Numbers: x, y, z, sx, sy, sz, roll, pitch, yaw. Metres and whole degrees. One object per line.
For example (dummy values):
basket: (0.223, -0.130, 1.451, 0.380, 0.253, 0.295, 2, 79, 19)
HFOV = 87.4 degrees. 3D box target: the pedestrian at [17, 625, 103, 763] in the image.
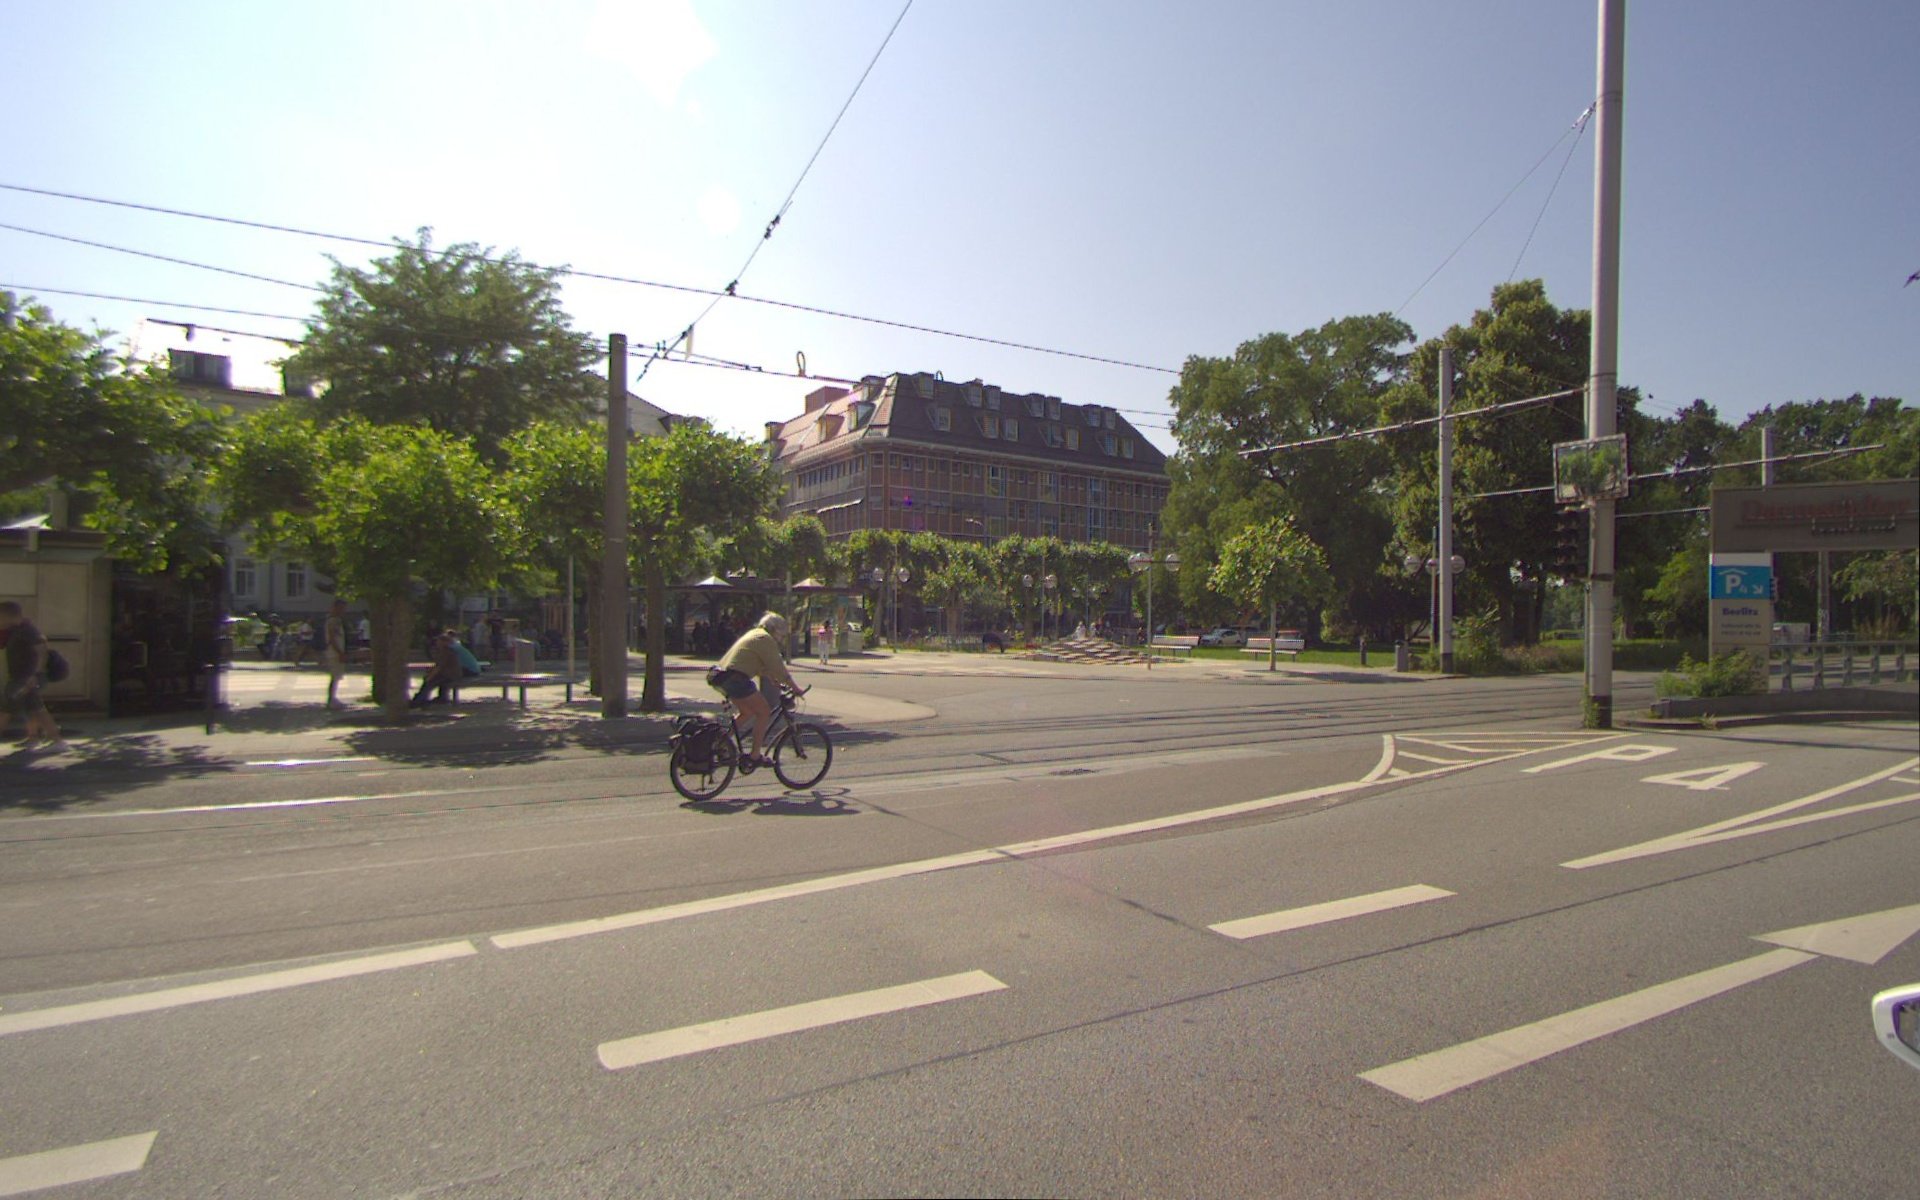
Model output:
pedestrian: (-11.048, 1.134, 12.348, 0.617, 1.630, 0.524, -1, -2, -21)

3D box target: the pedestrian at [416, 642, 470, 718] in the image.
pedestrian: (-8.959, 1.376, 17.396, 0.745, 1.263, 0.670, 0, -3, -37)

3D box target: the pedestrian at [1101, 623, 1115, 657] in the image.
pedestrian: (7.267, 1.962, 49.347, 0.491, 1.630, 0.410, 0, -3, -40)

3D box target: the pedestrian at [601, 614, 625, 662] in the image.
pedestrian: (-12.914, 1.408, 37.368, 0.537, 1.771, 0.630, -2, -3, 38)

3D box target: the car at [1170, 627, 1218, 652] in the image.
car: (20.185, 3.421, 86.713, 3.602, 2.041, 1.983, 1, 1, -31)

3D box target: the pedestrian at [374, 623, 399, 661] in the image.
pedestrian: (-19.446, 1.434, 34.073, 0.612, 1.279, 0.580, -1, -2, -16)

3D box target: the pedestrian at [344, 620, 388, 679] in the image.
pedestrian: (-18.871, 1.563, 31.937, 1.064, 1.817, 0.964, -1, -2, -21)

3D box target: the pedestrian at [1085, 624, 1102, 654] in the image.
pedestrian: (6.830, 1.988, 51.370, 0.656, 1.512, 0.521, 0, -3, -39)

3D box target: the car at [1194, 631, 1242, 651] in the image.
car: (21.273, 3.369, 82.768, 3.962, 1.528, 1.743, 1, 1, -37)

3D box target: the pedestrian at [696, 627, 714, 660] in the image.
pedestrian: (-10.834, 1.861, 42.649, 0.591, 1.377, 0.565, 0, -2, -31)

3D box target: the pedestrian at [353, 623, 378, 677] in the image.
pedestrian: (-20.043, 1.690, 33.866, 0.612, 1.802, 0.580, -1, -2, -16)

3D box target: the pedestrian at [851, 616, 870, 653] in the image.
pedestrian: (-5.501, 1.907, 55.610, 0.822, 2.034, 0.598, 0, -2, -33)

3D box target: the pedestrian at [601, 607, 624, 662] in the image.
pedestrian: (-13.065, 1.295, 37.787, 0.537, 2.034, 0.630, -2, -3, 38)

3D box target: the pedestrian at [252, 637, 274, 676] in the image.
pedestrian: (-23.106, 1.867, 33.301, 0.446, 1.279, 0.517, -1, -2, -18)

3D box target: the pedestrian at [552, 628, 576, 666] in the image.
pedestrian: (-14.664, 1.740, 37.198, 0.614, 1.404, 0.733, 1, -3, -42)

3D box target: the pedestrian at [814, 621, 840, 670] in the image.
pedestrian: (-4.796, 1.646, 36.212, 0.697, 1.728, 0.673, 0, -2, -31)

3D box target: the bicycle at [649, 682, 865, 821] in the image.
bicycle: (-1.915, 1.380, 9.559, 1.856, 1.135, 0.812, 1, -4, -36)

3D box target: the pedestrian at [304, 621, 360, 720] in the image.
pedestrian: (-10.557, 1.178, 16.889, 0.566, 1.630, 0.602, -3, -3, 31)

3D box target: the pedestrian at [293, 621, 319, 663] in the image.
pedestrian: (-20.547, 1.320, 31.570, 0.573, 1.279, 0.620, -1, -2, -21)

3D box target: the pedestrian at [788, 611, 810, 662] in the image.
pedestrian: (-6.547, 1.475, 40.720, 0.726, 2.034, 0.627, 0, -2, -25)

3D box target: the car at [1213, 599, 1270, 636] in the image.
car: (27.048, 1.693, 96.563, 5.358, 3.361, 2.115, 1, 1, -31)

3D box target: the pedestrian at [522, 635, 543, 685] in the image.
pedestrian: (-15.273, 2.140, 35.866, 0.612, 1.751, 0.736, 0, -2, -31)

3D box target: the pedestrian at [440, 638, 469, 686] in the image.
pedestrian: (-11.209, 1.371, 22.268, 0.573, 1.014, 0.632, 0, -3, -28)

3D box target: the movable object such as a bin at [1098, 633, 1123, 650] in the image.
movable object such as a bin: (7.108, 1.973, 47.443, 0.790, 0.764, 0.903, 0, -3, -30)

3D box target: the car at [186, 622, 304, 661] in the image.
car: (-30.183, 1.724, 42.489, 3.962, 1.528, 1.743, 1, 1, -37)

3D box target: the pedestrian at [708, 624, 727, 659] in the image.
pedestrian: (-9.934, 1.702, 41.097, 0.591, 1.409, 0.565, 0, -2, -31)

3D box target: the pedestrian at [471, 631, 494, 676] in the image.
pedestrian: (-13.935, 1.560, 29.301, 0.398, 1.279, 0.480, -3, -3, 41)

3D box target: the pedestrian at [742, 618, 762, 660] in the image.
pedestrian: (-8.728, 1.623, 42.159, 0.612, 1.751, 0.736, 0, -2, -31)

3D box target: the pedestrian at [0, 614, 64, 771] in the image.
pedestrian: (-10.847, 1.050, 11.606, 0.517, 1.756, 0.587, -3, -3, 30)

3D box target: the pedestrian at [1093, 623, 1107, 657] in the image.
pedestrian: (6.756, 1.951, 48.468, 0.460, 1.630, 0.449, 0, -3, -30)

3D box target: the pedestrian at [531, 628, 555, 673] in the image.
pedestrian: (-15.241, 1.828, 36.690, 0.614, 1.619, 0.733, 1, -3, -42)

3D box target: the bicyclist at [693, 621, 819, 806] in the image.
bicyclist: (-1.950, 1.042, 9.568, 0.893, 1.643, 0.812, 0, -4, -35)

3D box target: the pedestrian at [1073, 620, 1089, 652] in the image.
pedestrian: (6.264, 1.839, 51.871, 0.616, 1.630, 0.488, 0, -3, -40)

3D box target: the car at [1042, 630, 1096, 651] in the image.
car: (8.343, 3.090, 76.996, 3.962, 1.528, 1.743, 1, 1, -37)

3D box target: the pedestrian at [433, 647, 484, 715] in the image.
pedestrian: (-9.230, 1.477, 18.476, 0.745, 1.186, 0.670, 0, -3, -37)

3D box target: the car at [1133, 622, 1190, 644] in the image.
car: (16.422, 2.646, 81.866, 4.798, 1.685, 1.743, 1, 1, -37)

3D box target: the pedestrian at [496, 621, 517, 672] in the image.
pedestrian: (-15.980, 1.639, 35.396, 0.612, 1.751, 0.736, 0, -2, -31)
